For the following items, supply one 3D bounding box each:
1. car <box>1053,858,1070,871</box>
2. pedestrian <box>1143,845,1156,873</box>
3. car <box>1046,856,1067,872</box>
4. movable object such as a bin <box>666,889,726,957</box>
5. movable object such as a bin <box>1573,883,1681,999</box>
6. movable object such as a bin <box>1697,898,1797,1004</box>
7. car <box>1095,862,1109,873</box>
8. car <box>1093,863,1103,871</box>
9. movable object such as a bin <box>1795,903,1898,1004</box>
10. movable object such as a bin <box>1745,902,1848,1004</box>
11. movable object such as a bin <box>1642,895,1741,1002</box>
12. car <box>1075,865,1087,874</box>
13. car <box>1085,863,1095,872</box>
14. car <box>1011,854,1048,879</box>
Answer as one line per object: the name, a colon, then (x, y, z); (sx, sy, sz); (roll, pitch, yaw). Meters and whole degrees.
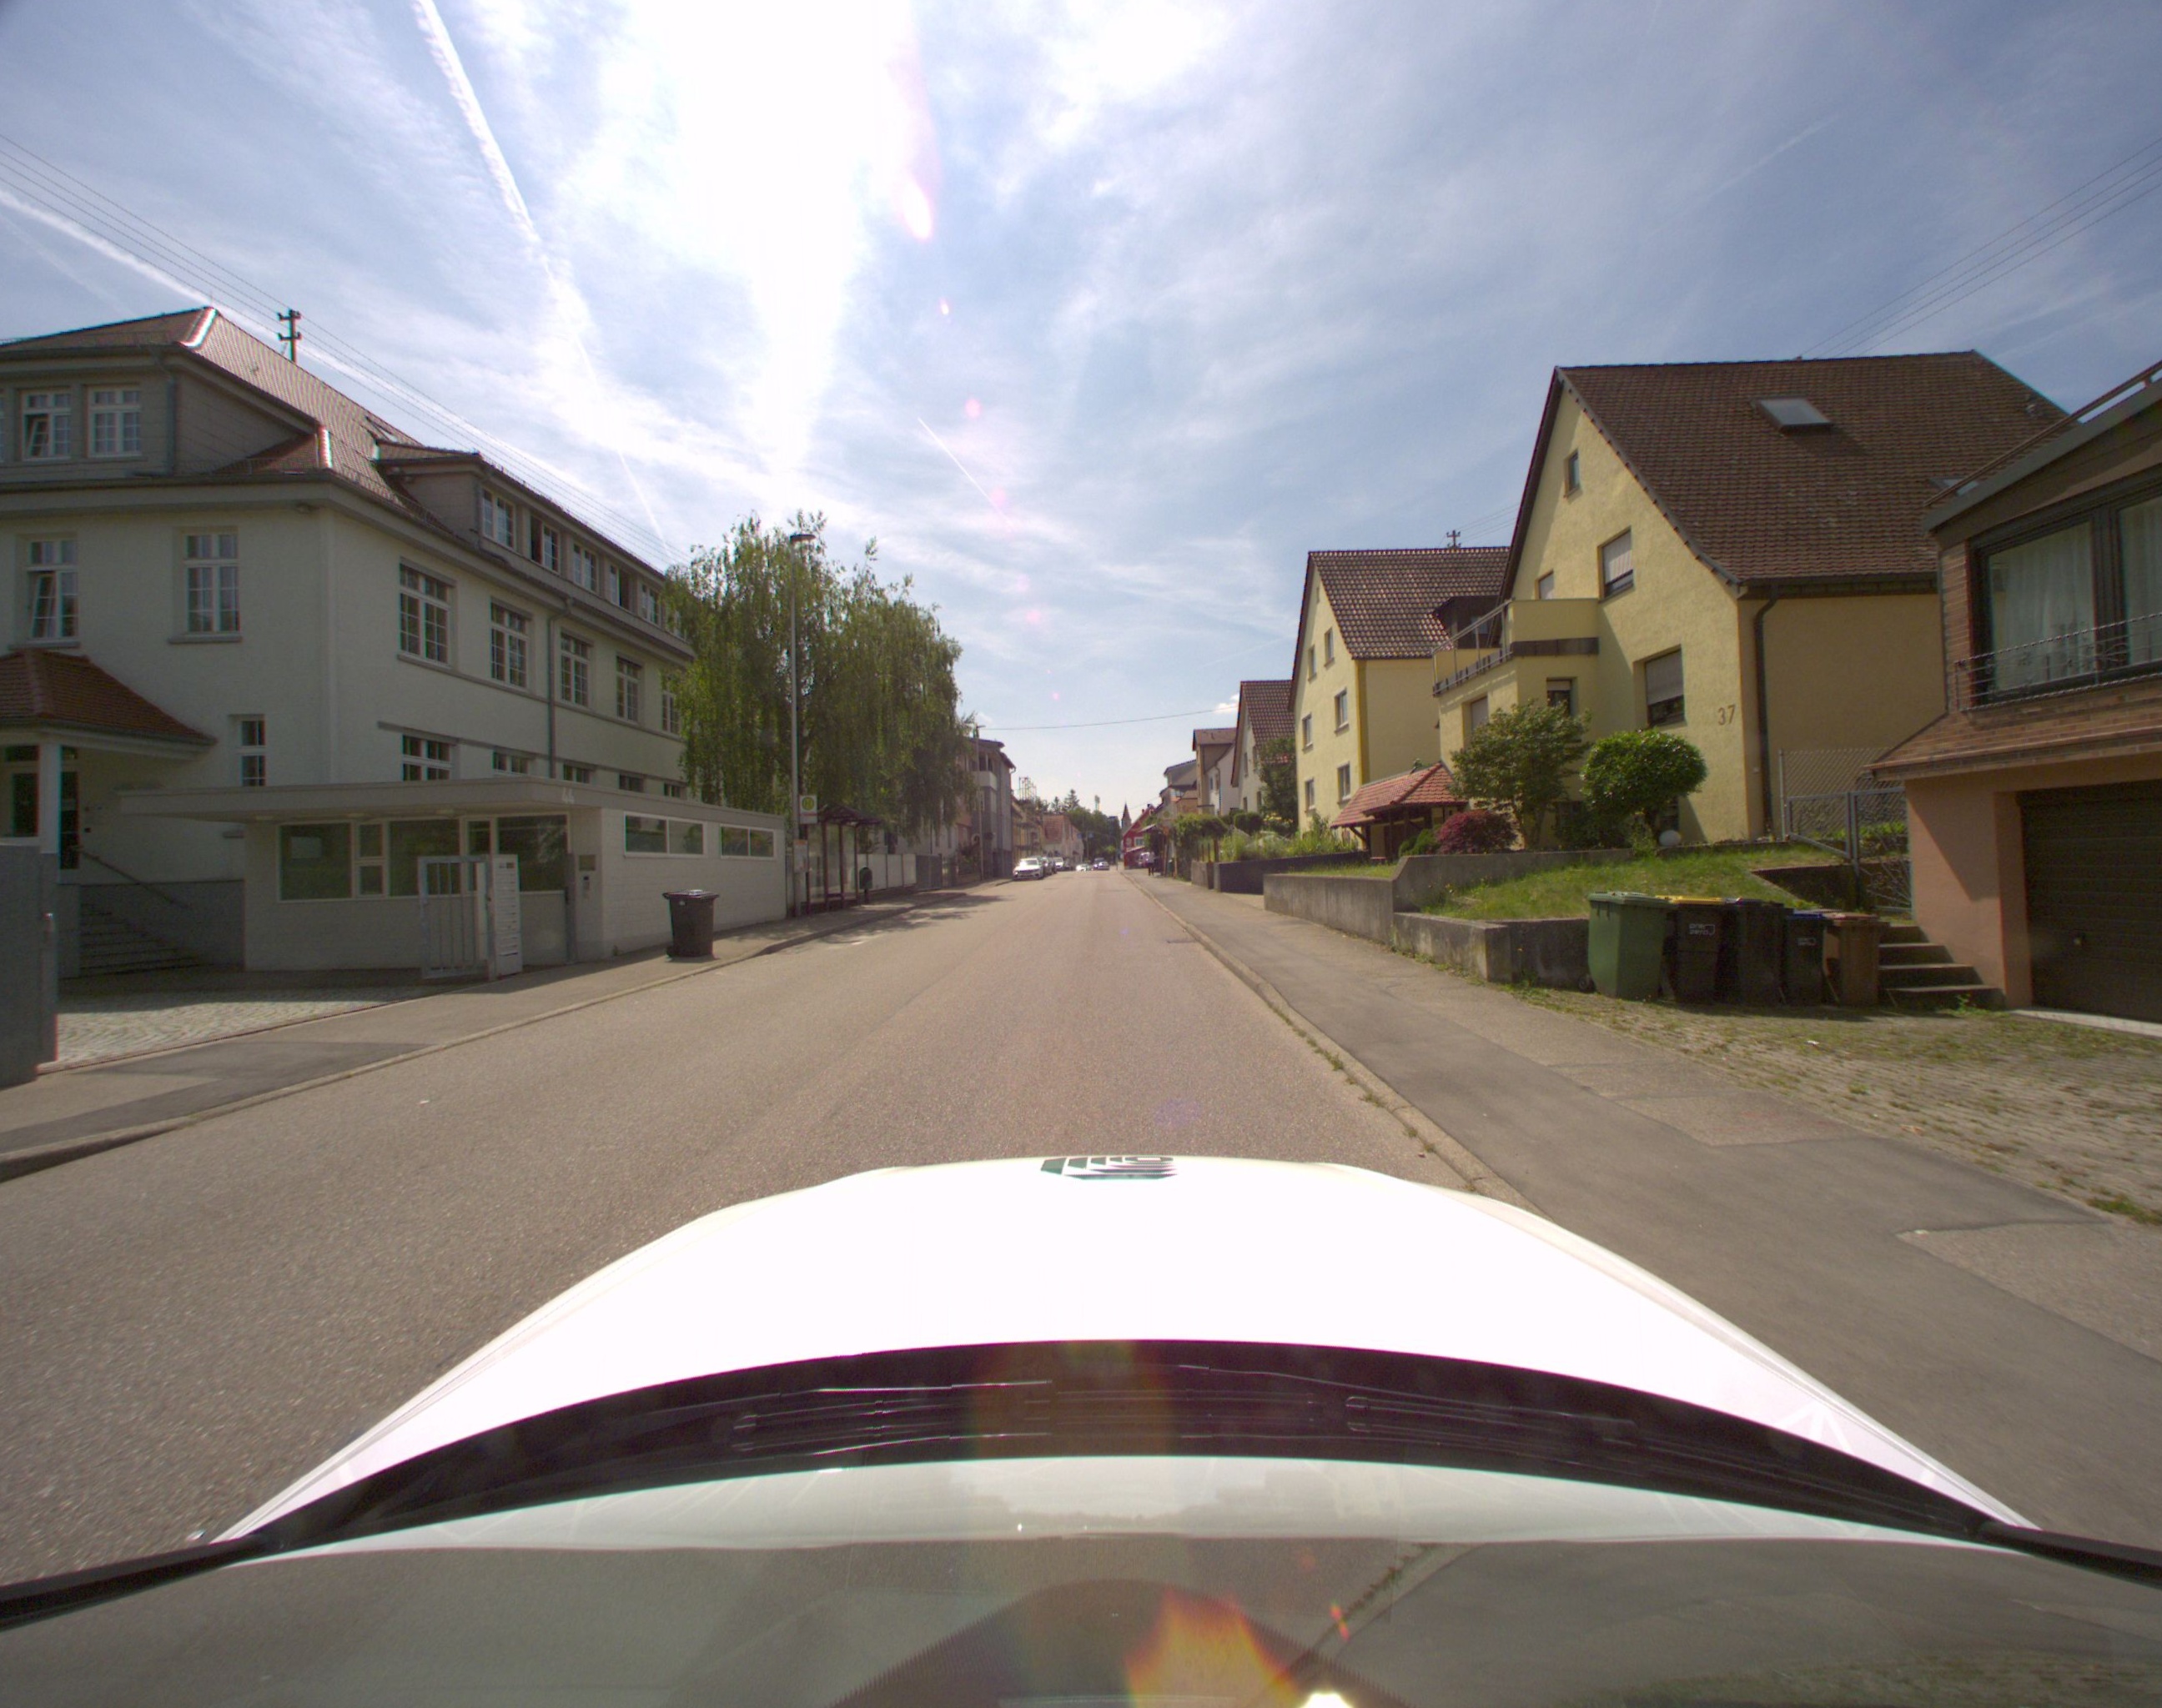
car: (-2.501, 1.347, 104.163); (1.987, 1.560, 4.313); (-3, 0, 0)
pedestrian: (4.275, 0.306, 50.615); (0.644, 1.729, 0.609); (-4, 0, 1)
car: (-2.677, 1.111, 90.681); (1.986, 1.560, 4.314); (-3, 0, 1)
movable object such as a bin: (-6.371, 1.131, 13.489); (0.605, 1.046, 0.725); (-1, 1, 1)
movable object such as a bin: (5.580, 0.864, 8.356); (0.581, 1.078, 0.734); (3, 0, 1)
movable object such as a bin: (6.794, 0.971, 8.332); (0.526, 0.989, 0.564); (3, 0, 1)
car: (3.335, 2.116, 128.484); (1.988, 1.560, 4.311); (-2, 0, -2)
car: (3.506, 2.600, 167.150); (1.832, 1.464, 4.004); (-3, 0, 3)
movable object such as a bin: (7.912, 1.014, 8.436); (0.526, 0.951, 0.564); (2, 0, 1)
movable object such as a bin: (7.347, 1.000, 8.379); (0.526, 0.951, 0.564); (3, 0, 1)
movable object such as a bin: (6.240, 0.951, 8.346); (0.526, 0.989, 0.564); (5, 0, 1)
car: (-0.037, 2.695, 139.913); (1.835, 1.464, 3.998); (-3, 0, -1)
car: (1.619, 2.495, 149.800); (1.834, 1.464, 3.999); (-3, 0, 0)
car: (-3.437, 0.804, 54.976); (2.103, 1.560, 4.314); (-2, 0, 1)
